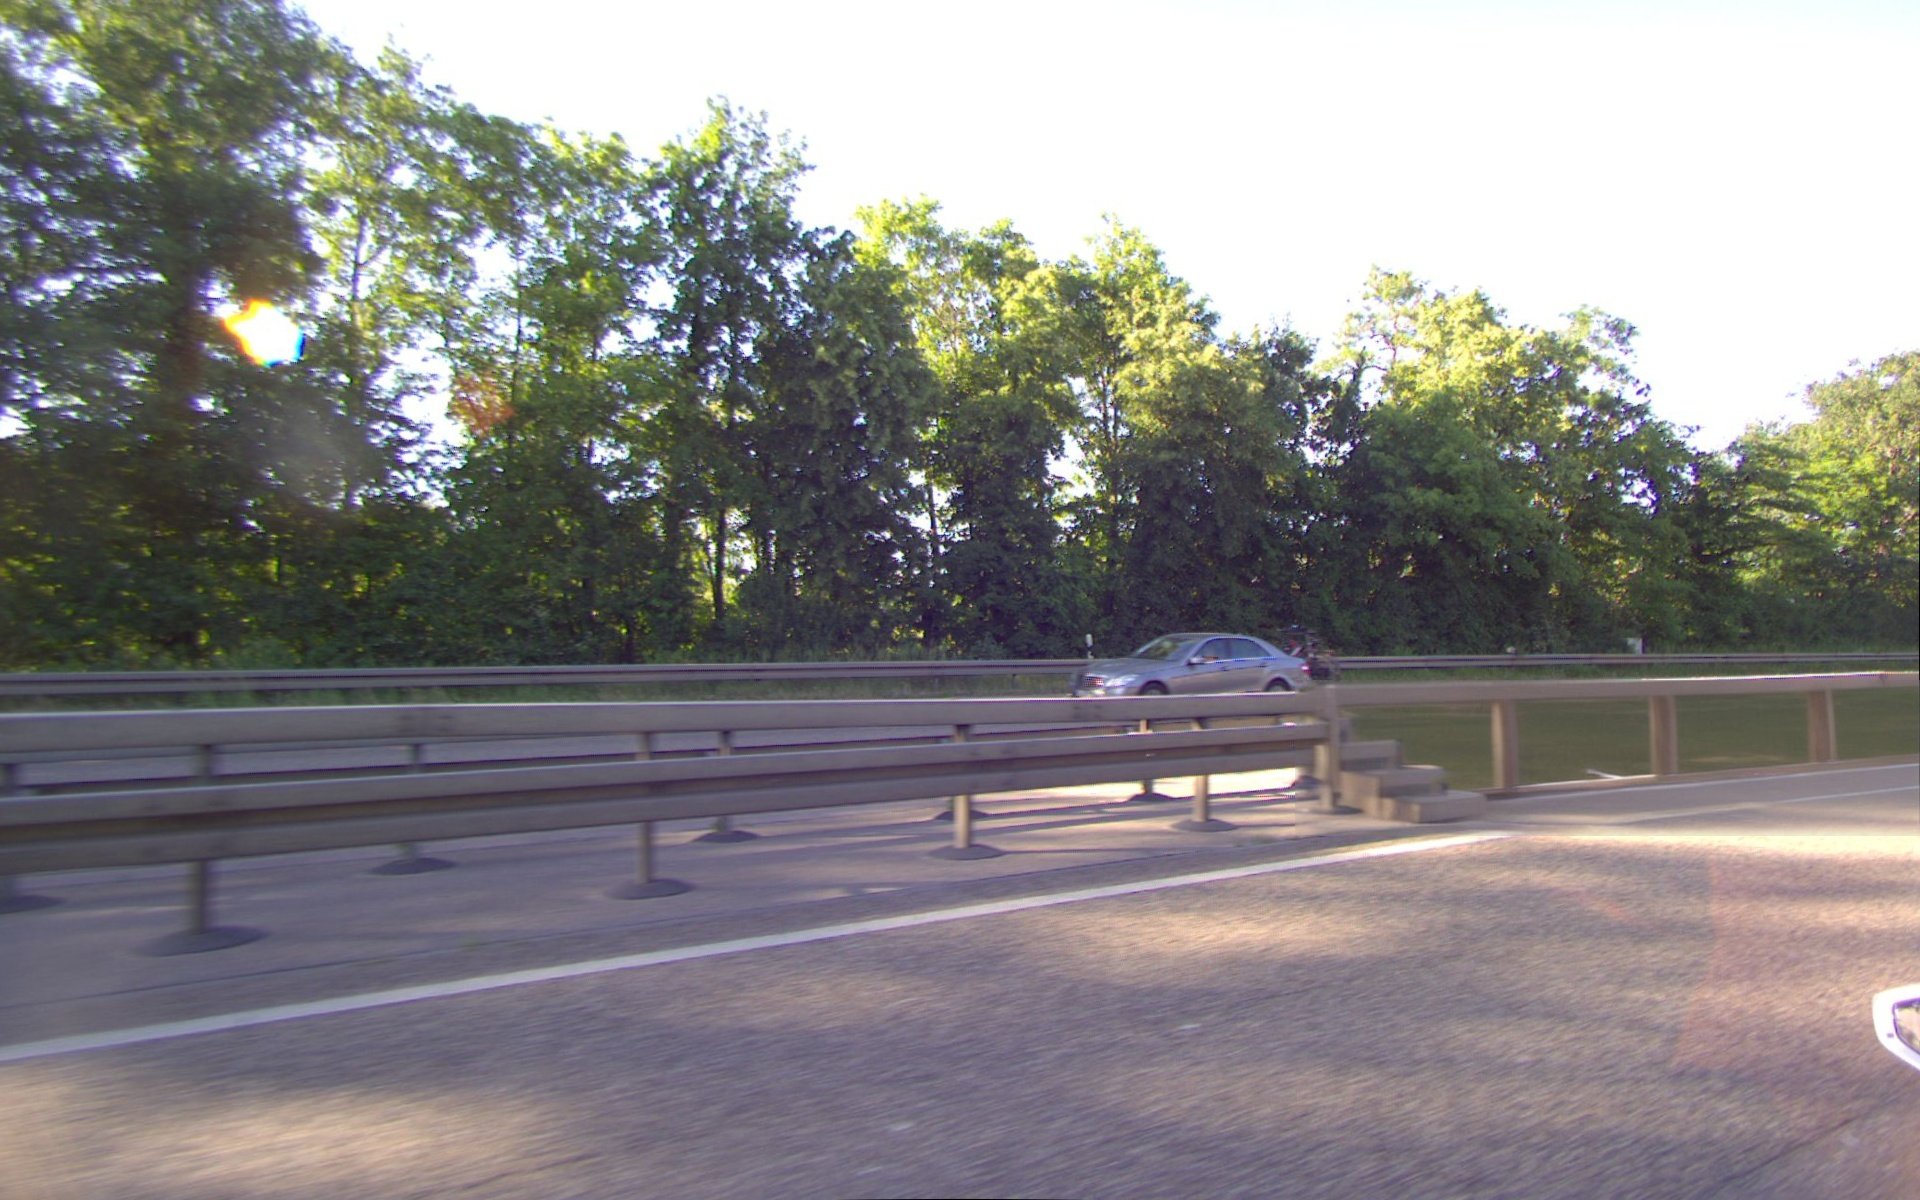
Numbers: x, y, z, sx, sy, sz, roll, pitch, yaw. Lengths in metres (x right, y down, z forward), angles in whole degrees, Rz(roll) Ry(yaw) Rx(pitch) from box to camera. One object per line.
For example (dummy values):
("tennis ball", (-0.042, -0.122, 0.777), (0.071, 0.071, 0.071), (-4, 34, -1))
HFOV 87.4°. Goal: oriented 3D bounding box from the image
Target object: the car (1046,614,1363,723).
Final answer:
("car", (4.609, 1.181, 18.655), (5.802, 1.748, 2.111), (1, 0, -28))
